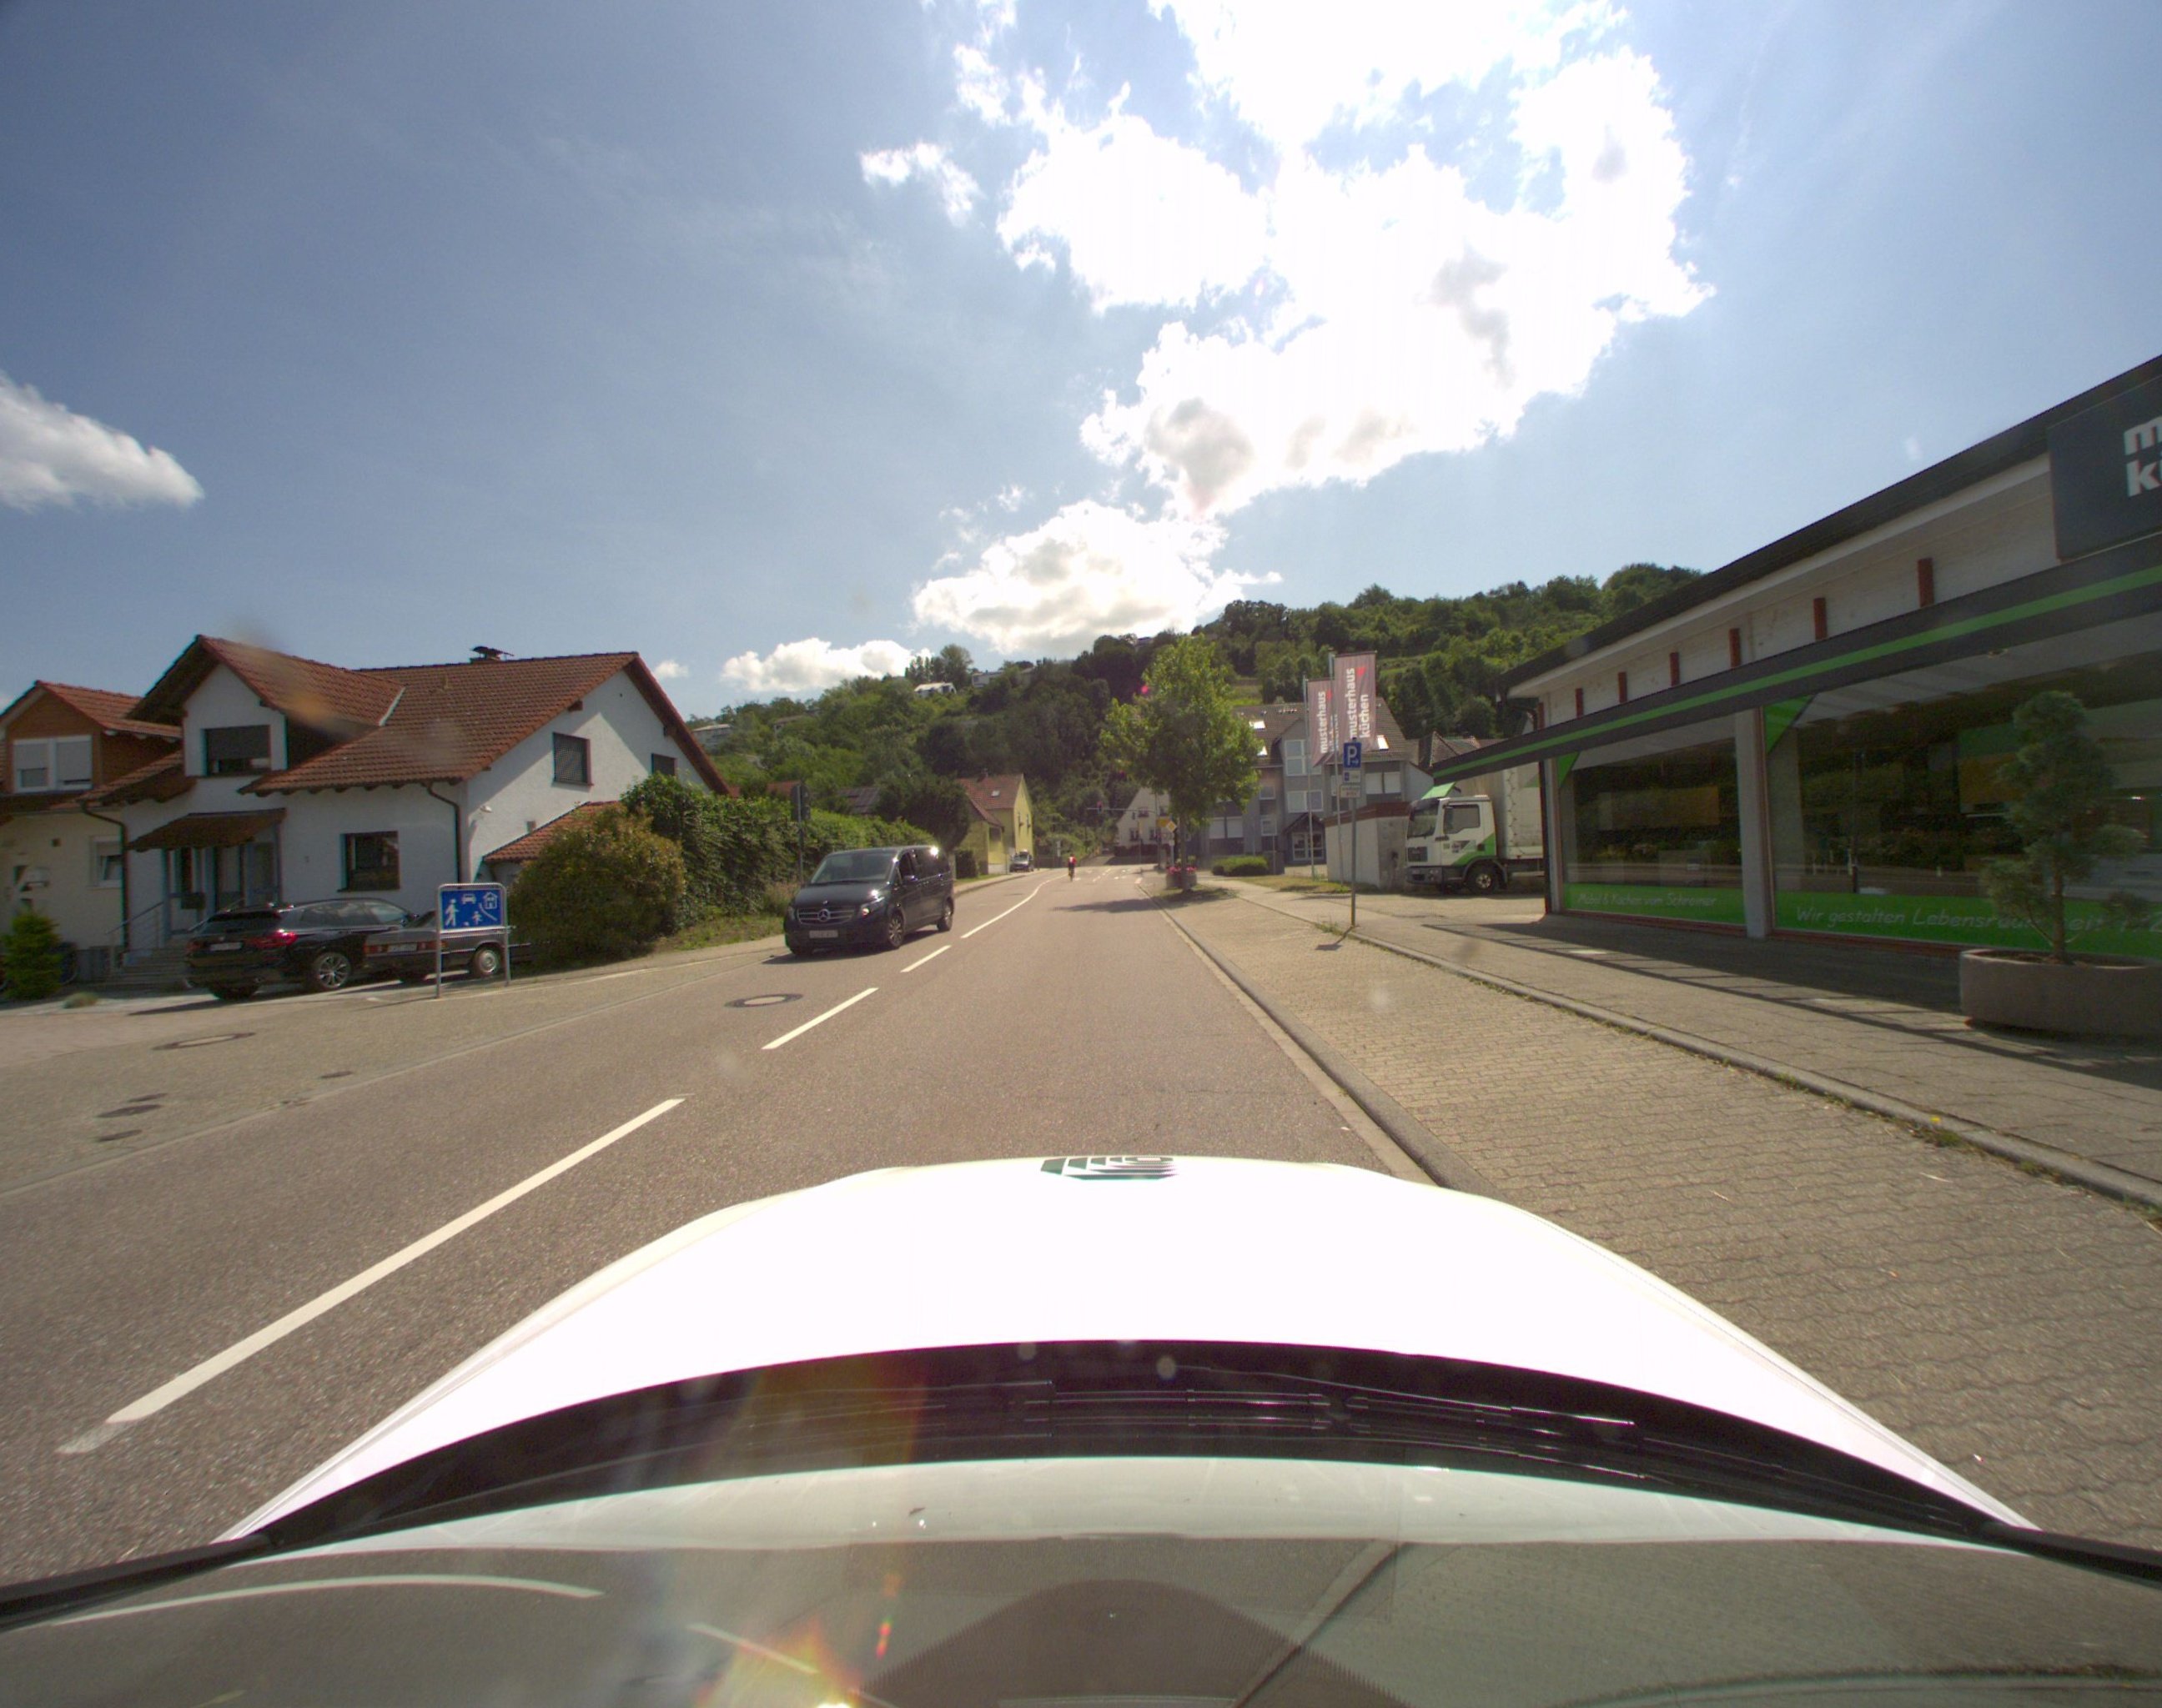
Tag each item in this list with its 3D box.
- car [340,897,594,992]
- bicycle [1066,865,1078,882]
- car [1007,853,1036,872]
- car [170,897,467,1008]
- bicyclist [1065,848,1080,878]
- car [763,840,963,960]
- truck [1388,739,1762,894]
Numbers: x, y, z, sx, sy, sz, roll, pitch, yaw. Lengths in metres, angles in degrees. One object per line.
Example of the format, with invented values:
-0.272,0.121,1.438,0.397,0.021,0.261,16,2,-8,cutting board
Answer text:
-11.802,1.675,16.054,1.653,1.285,4.005,-5,0,4,car
-0.492,1.093,46.362,0.628,0.905,1.657,-1,0,0,bicycle
-5.419,0.730,74.672,1.985,1.635,4.635,-1,0,4,car
-14.246,1.749,15.603,1.760,1.550,4.001,-4,0,1,car
-0.477,0.510,46.316,0.758,1.664,0.868,-1,0,0,bicyclist
-3.956,0.757,15.889,1.984,1.852,5.078,-4,0,6,car
12.775,-0.900,21.583,8.141,3.573,2.678,-2,-1,1,truck
